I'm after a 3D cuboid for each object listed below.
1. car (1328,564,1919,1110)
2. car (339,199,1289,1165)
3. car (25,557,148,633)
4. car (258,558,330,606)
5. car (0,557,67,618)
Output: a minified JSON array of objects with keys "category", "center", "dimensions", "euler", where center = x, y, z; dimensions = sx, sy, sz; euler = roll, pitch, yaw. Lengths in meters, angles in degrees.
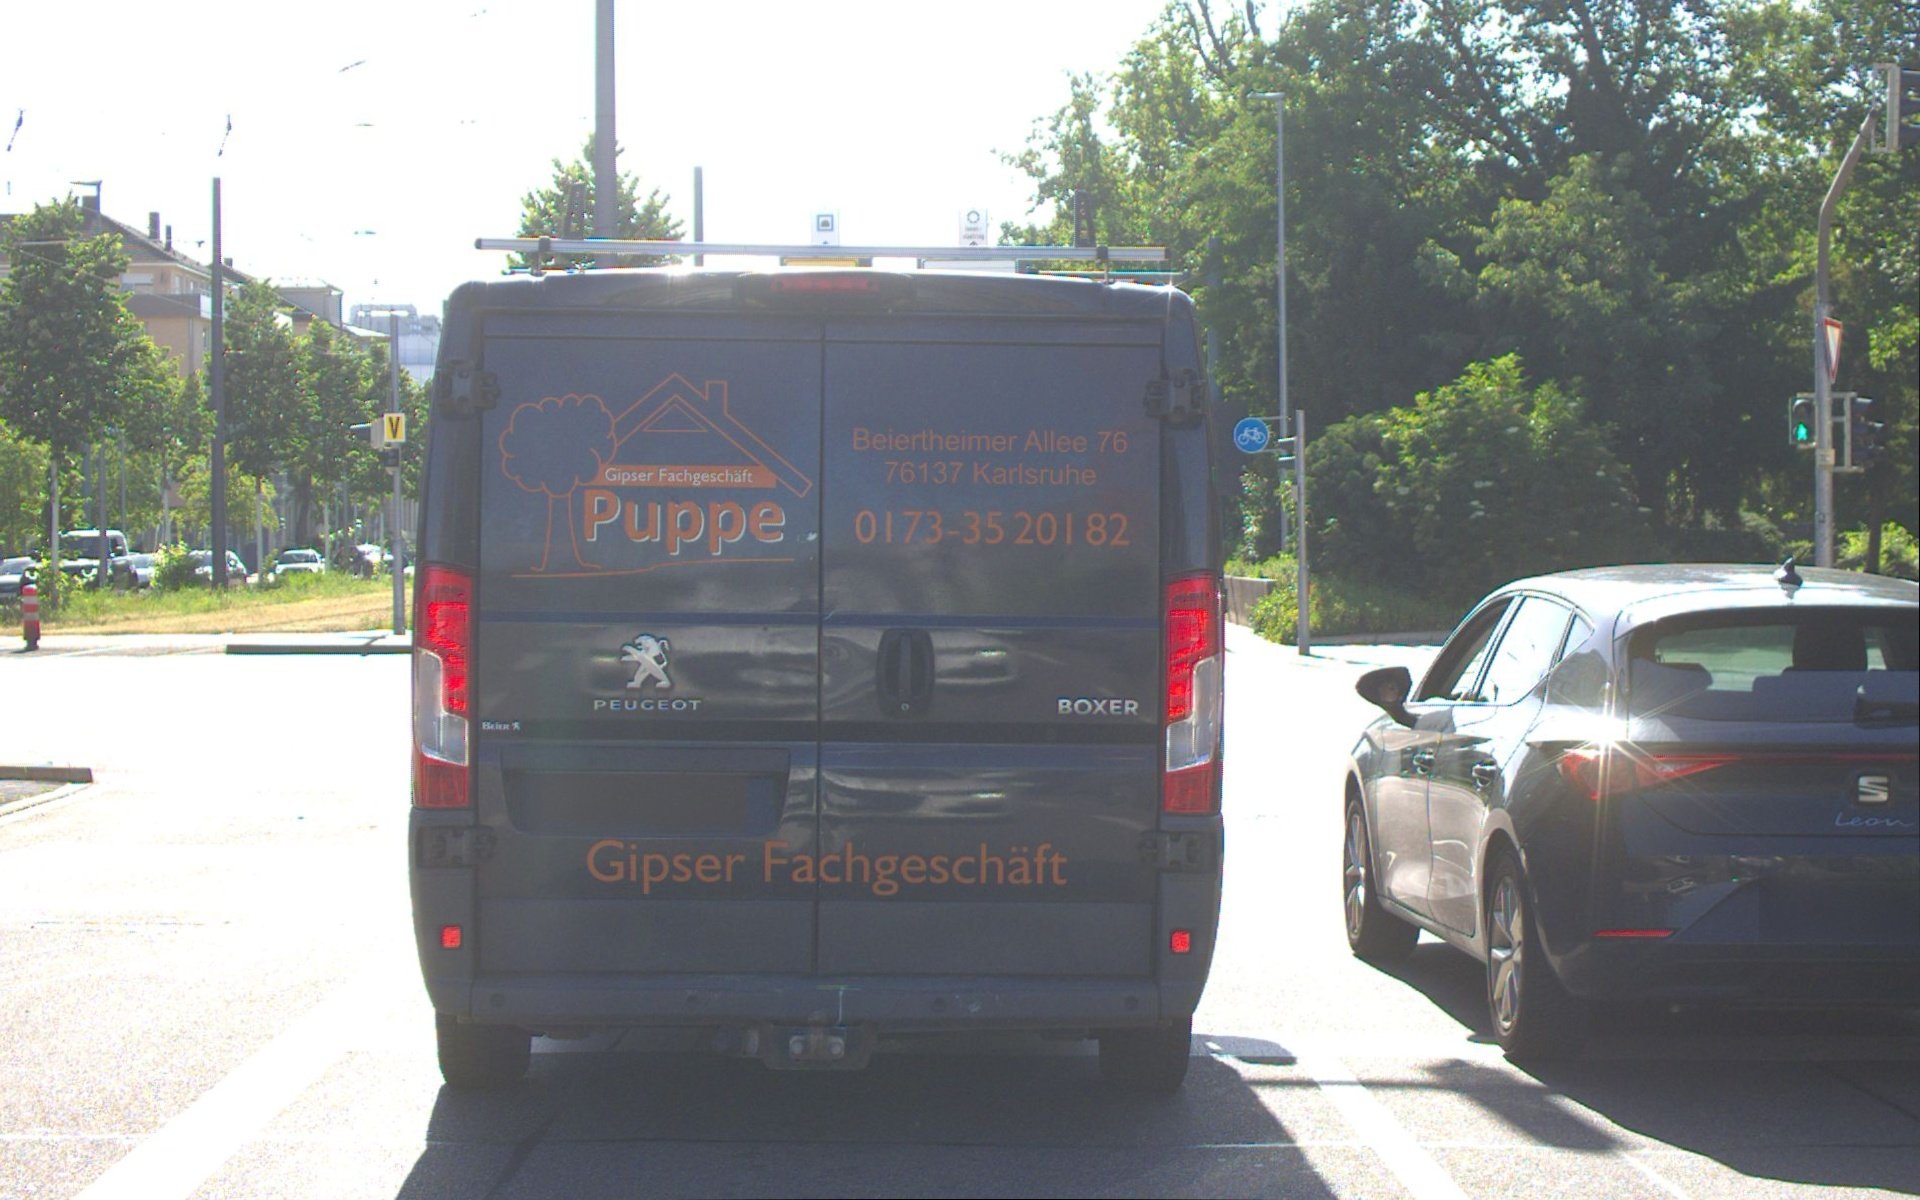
[{"category":"car","center":[2.375,0.617,11.068],"dimensions":[1.791,1.423,3.850],"euler":[1,1,-2]},{"category":"car","center":[-0.424,0.139,10.391],"dimensions":[2.218,2.259,4.485],"euler":[1,2,-2]},{"category":"car","center":[-19.852,-0.140,78.260],"dimensions":[1.790,1.645,4.000],"euler":[-1,1,0]},{"category":"car","center":[-23.750,-0.650,122.722],"dimensions":[1.790,1.645,4.000],"euler":[-1,1,0]},{"category":"car","center":[-26.474,-0.362,96.448],"dimensions":[1.790,1.645,4.000],"euler":[-1,1,0]}]
